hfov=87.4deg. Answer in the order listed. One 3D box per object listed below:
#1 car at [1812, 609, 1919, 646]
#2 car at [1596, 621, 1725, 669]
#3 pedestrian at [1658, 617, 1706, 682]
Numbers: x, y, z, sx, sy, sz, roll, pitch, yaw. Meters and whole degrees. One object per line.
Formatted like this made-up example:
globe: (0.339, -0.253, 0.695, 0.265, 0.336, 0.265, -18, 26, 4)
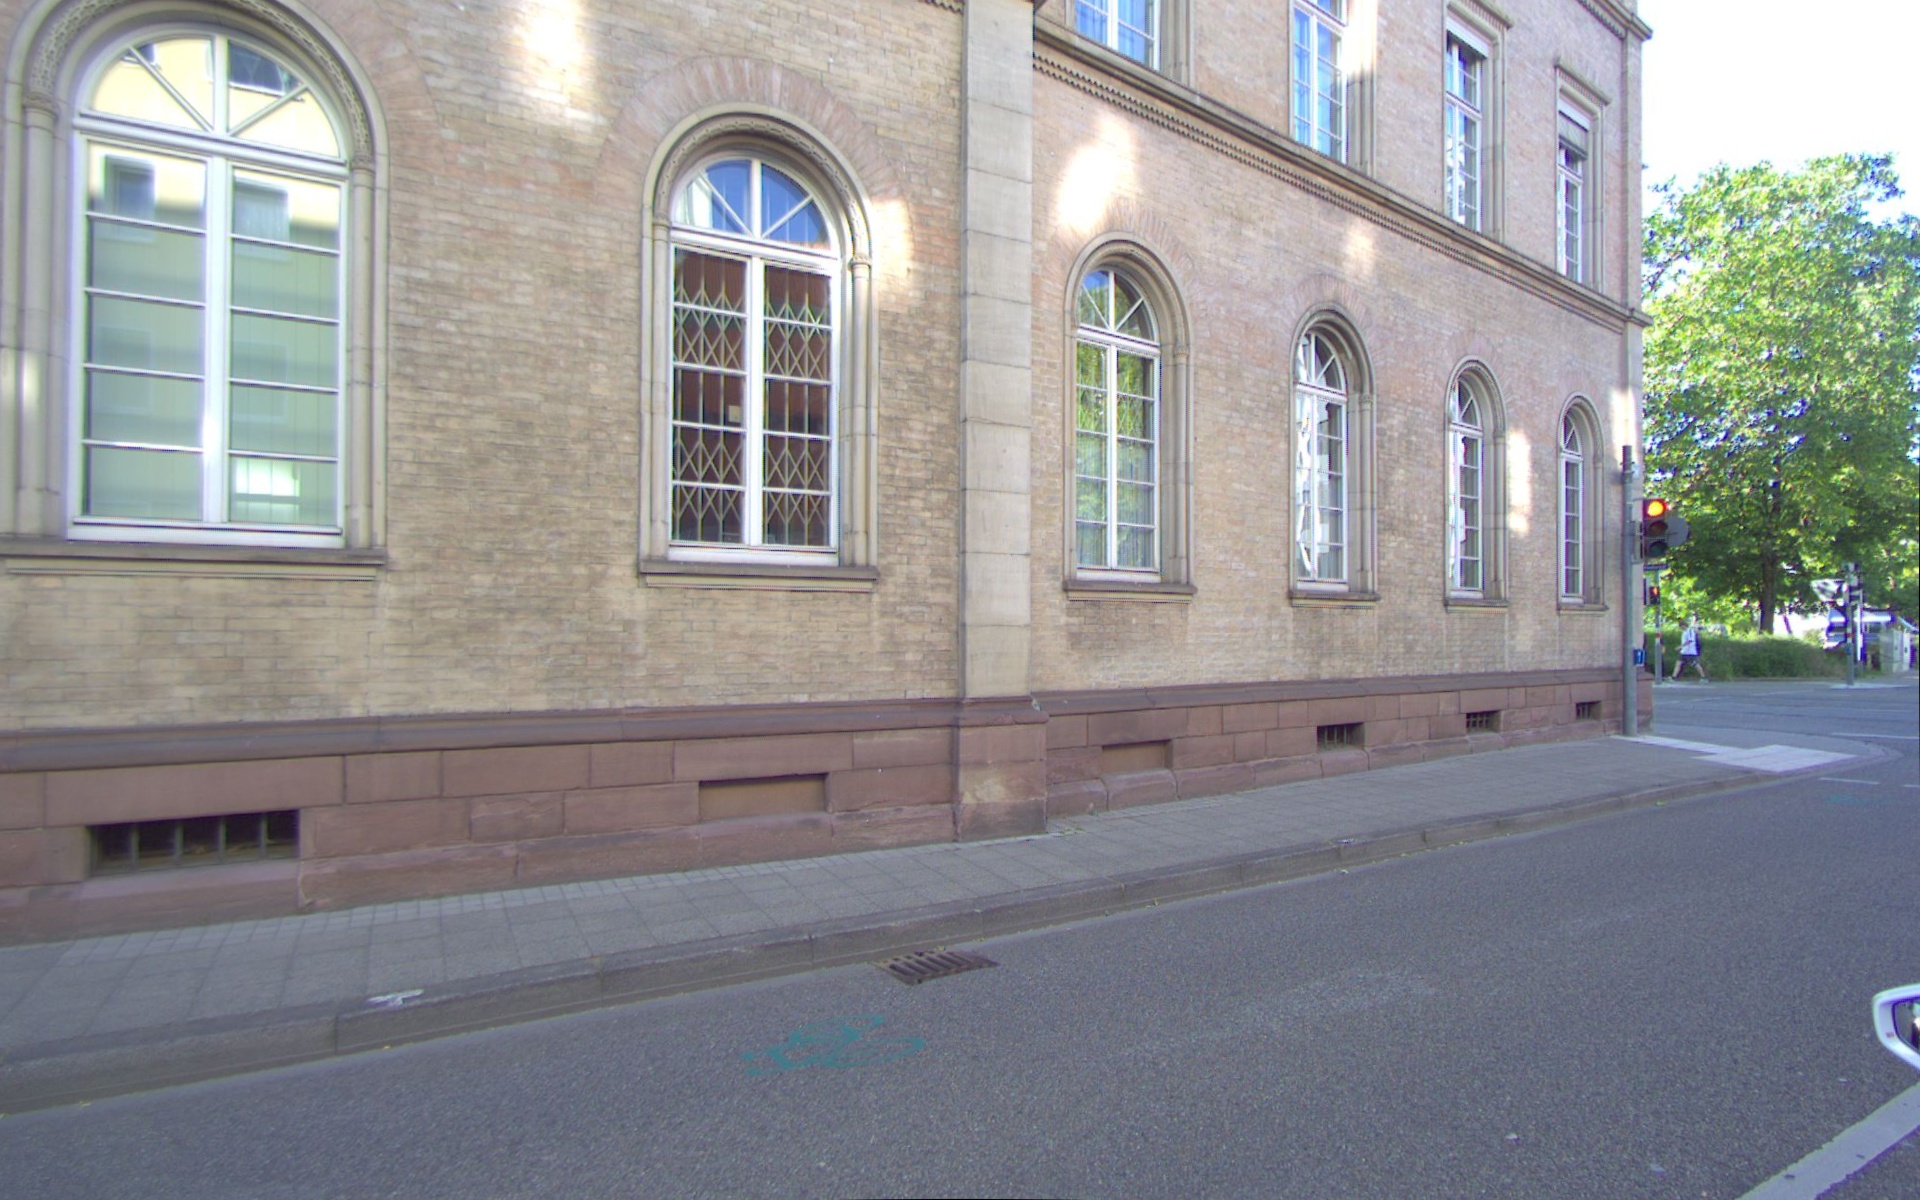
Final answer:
car: (53.489, 1.611, 59.383, 1.983, 2.040, 4.409, 2, 0, -38)
car: (24.368, 1.527, 35.022, 1.636, 1.476, 3.382, 2, 0, -39)
pedestrian: (21.715, 1.473, 30.224, 0.898, 1.893, 0.743, 2, 0, 14)
